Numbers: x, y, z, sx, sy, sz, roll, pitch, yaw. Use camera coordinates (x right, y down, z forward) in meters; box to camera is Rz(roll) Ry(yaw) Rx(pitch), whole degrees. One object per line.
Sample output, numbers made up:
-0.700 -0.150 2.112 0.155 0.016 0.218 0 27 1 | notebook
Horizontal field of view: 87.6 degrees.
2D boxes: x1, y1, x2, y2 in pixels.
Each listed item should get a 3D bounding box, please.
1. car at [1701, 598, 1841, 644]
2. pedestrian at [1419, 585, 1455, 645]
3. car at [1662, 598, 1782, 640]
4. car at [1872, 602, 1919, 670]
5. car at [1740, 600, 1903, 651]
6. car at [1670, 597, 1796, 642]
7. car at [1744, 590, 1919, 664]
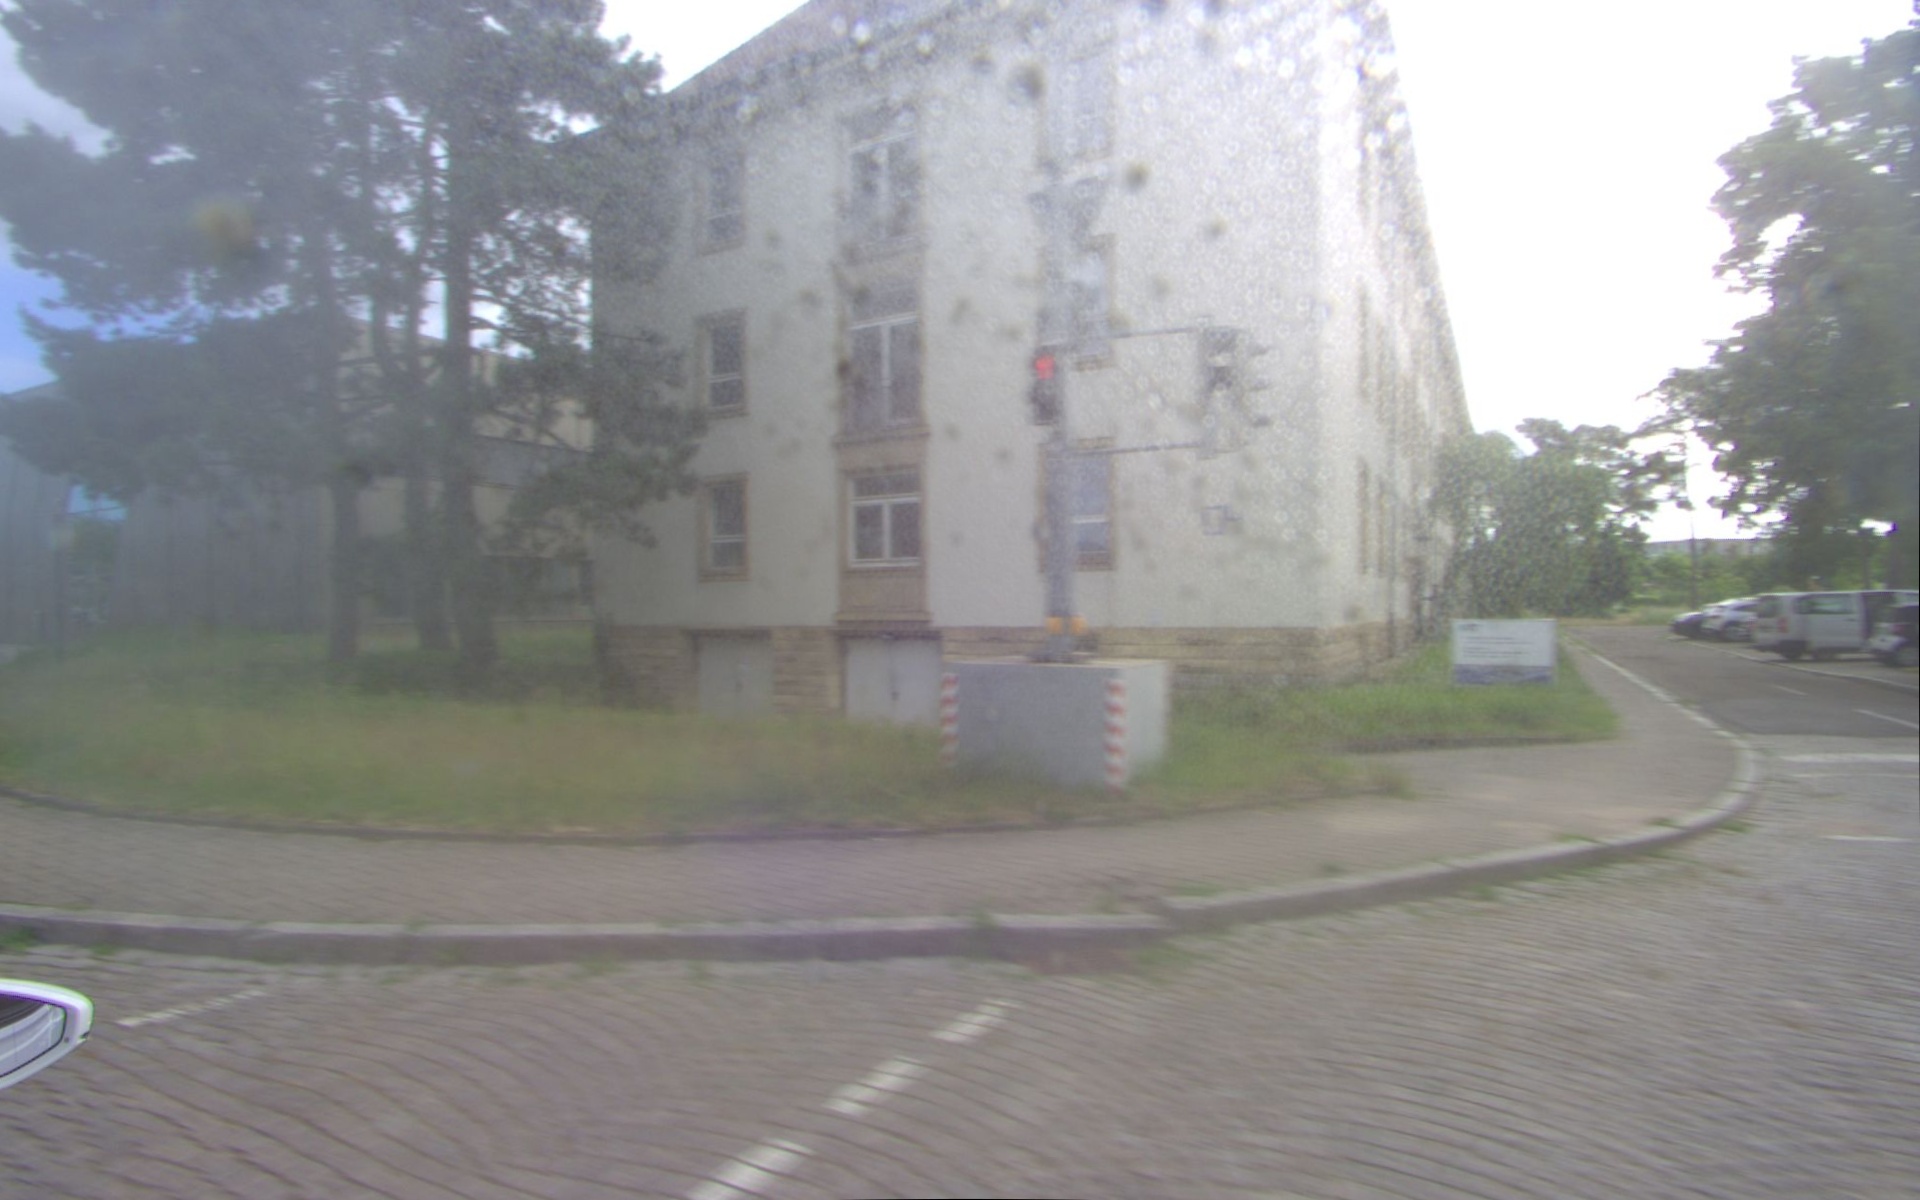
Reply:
31.603 0.814 39.171 3.982 1.741 1.674 0 0 29 | car
14.563 0.445 30.565 0.828 1.805 0.935 0 1 35 | pedestrian
33.725 0.832 44.443 3.982 1.823 1.674 0 0 29 | car
23.722 0.830 23.759 2.814 1.579 1.465 -1 1 29 | car
29.158 0.836 34.068 3.987 1.642 1.672 -1 0 33 | car
32.516 0.803 42.245 3.982 1.823 1.674 0 0 29 | car
24.844 0.714 27.108 5.224 1.941 2.147 -1 0 15 | car
